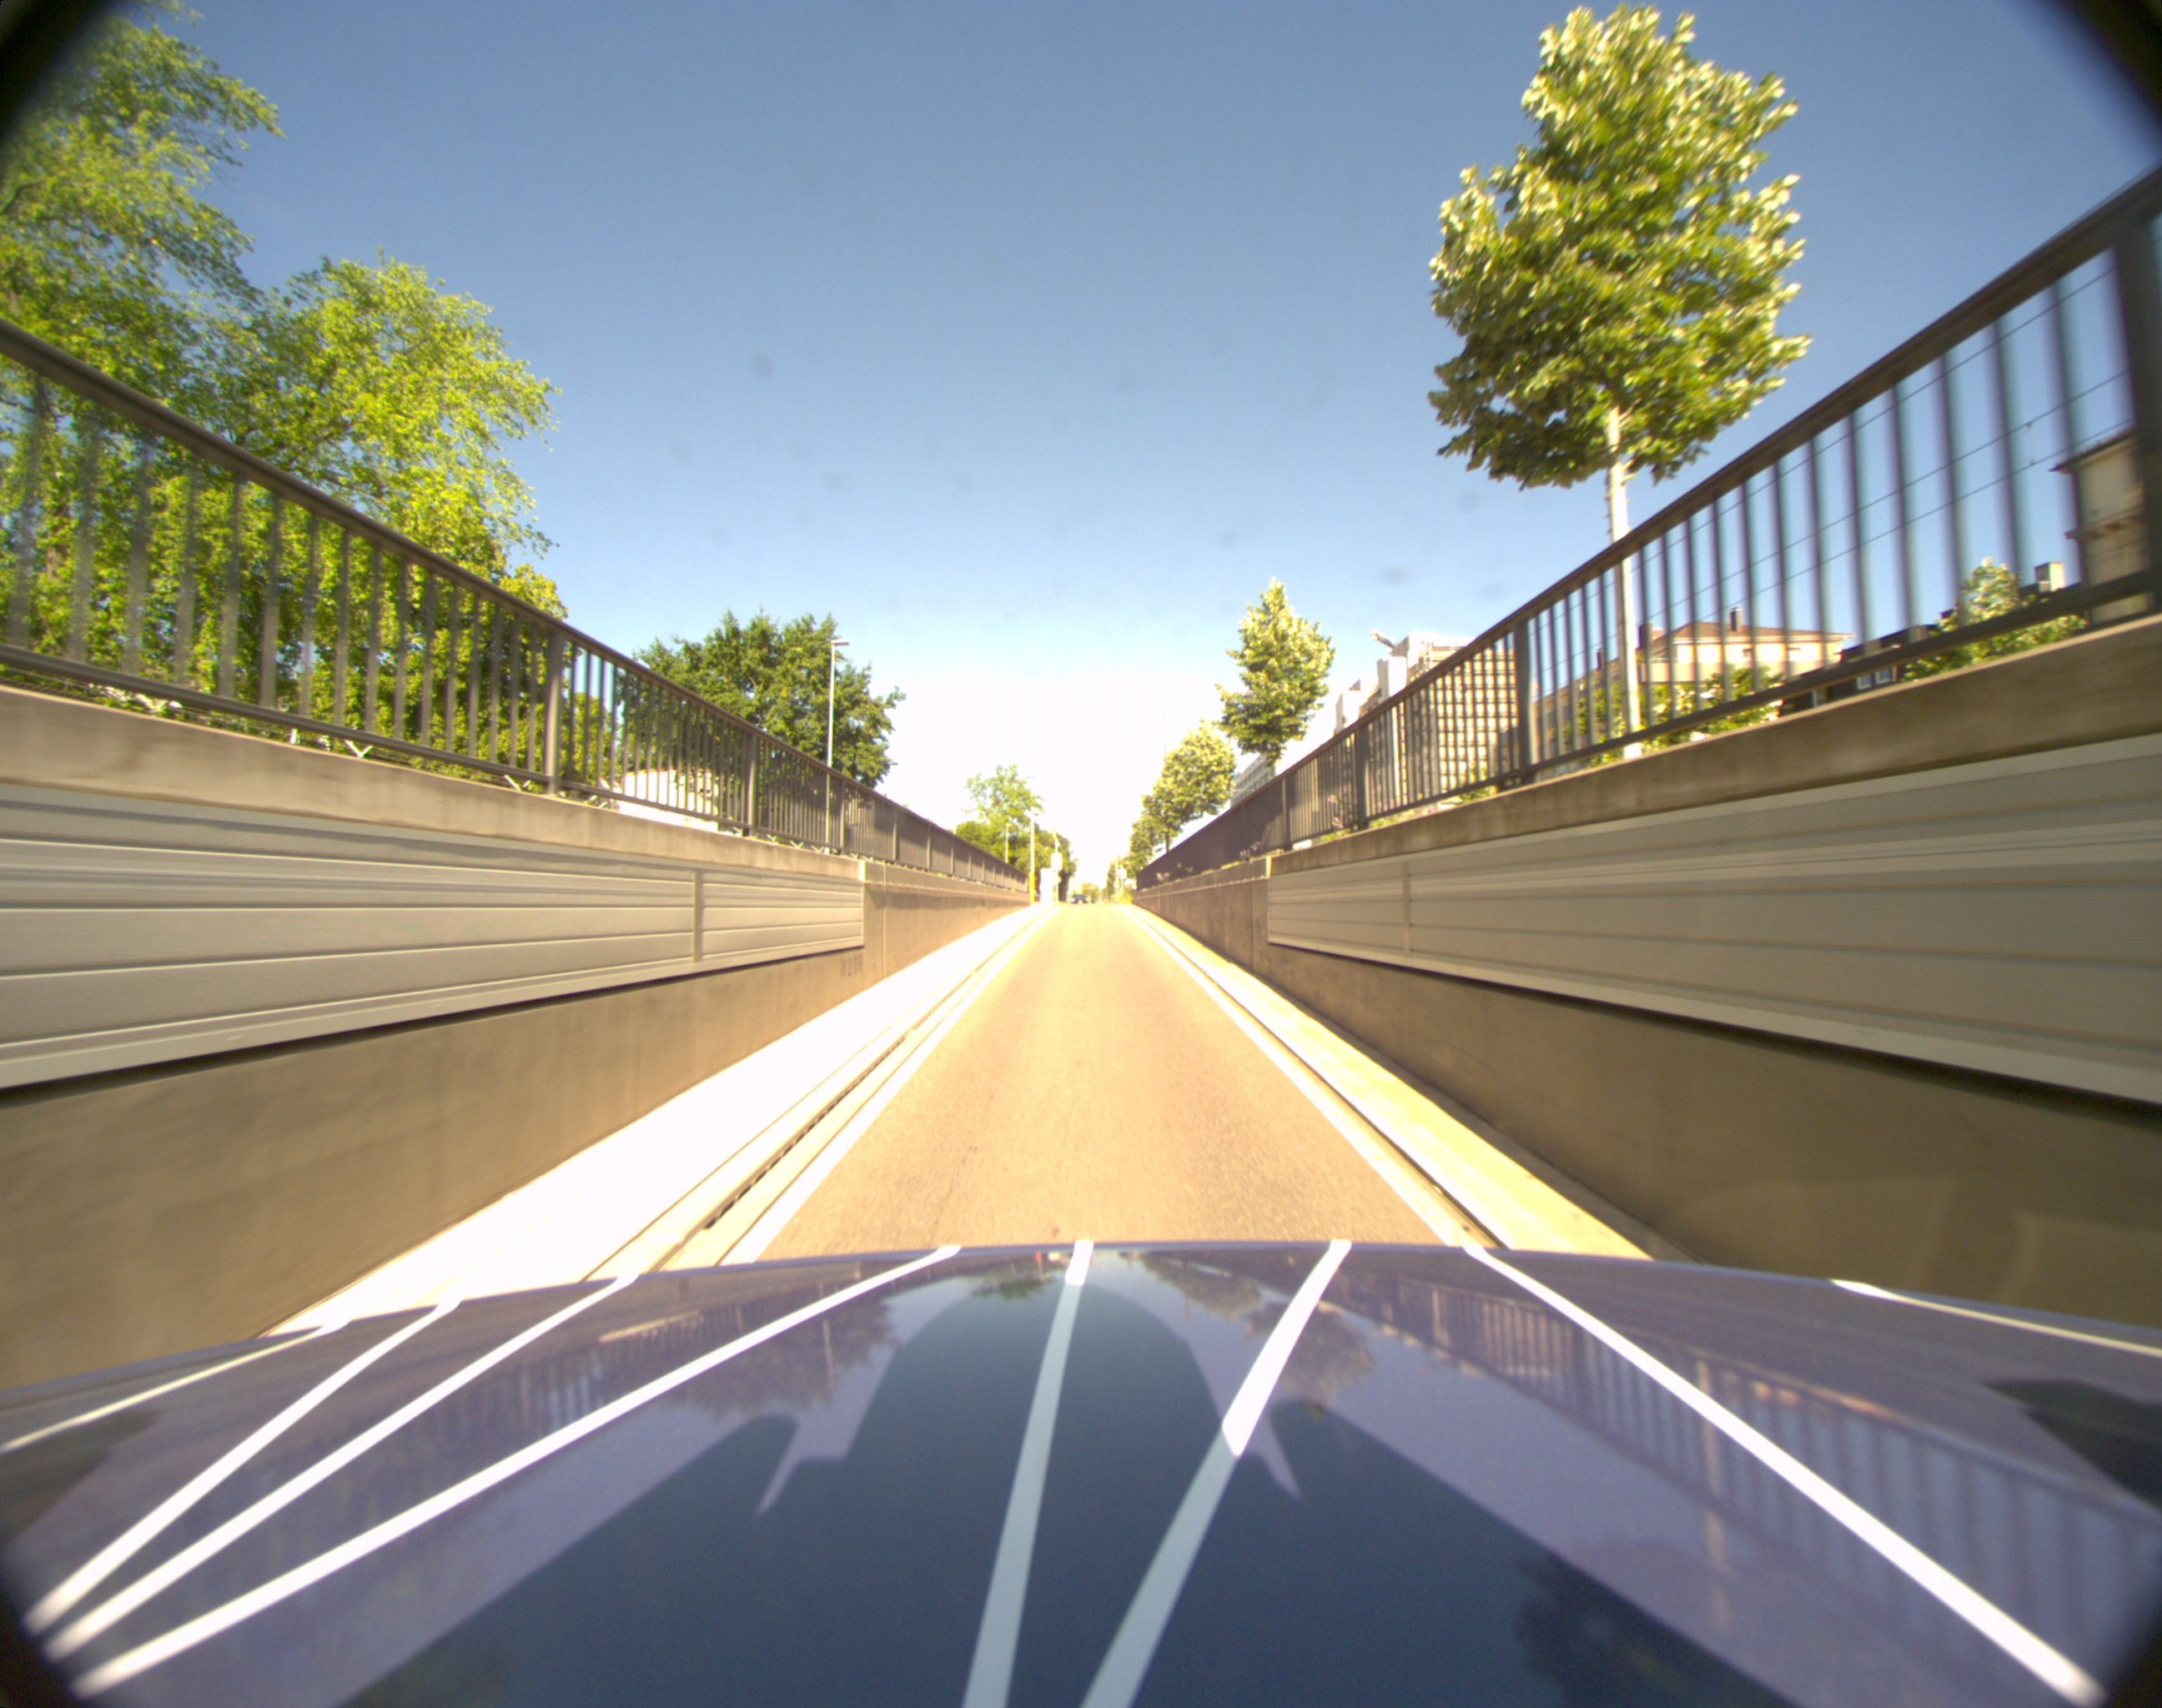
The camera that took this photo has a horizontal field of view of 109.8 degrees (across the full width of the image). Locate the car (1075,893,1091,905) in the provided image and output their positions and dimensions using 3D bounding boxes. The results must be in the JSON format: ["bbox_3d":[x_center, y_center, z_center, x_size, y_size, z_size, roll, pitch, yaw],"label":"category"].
[{"bbox_3d":[0.239,5.477,92.263,1.829,1.327,4.003,-1,-3,2],"label":"car"}]

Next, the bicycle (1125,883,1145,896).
[{"bbox_3d":[4.783,3.129,67.078,0.726,1.049,1.979,-1,-2,-33],"label":"bicycle"}]

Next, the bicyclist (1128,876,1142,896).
[{"bbox_3d":[4.768,2.821,67.048,0.861,1.676,0.818,1,-3,-33],"label":"bicyclist"}]

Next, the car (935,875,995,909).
[{"bbox_3d":[-5.071,1.686,33.747,1.838,1.392,4.302,-1,-3,1],"label":"car"}]
